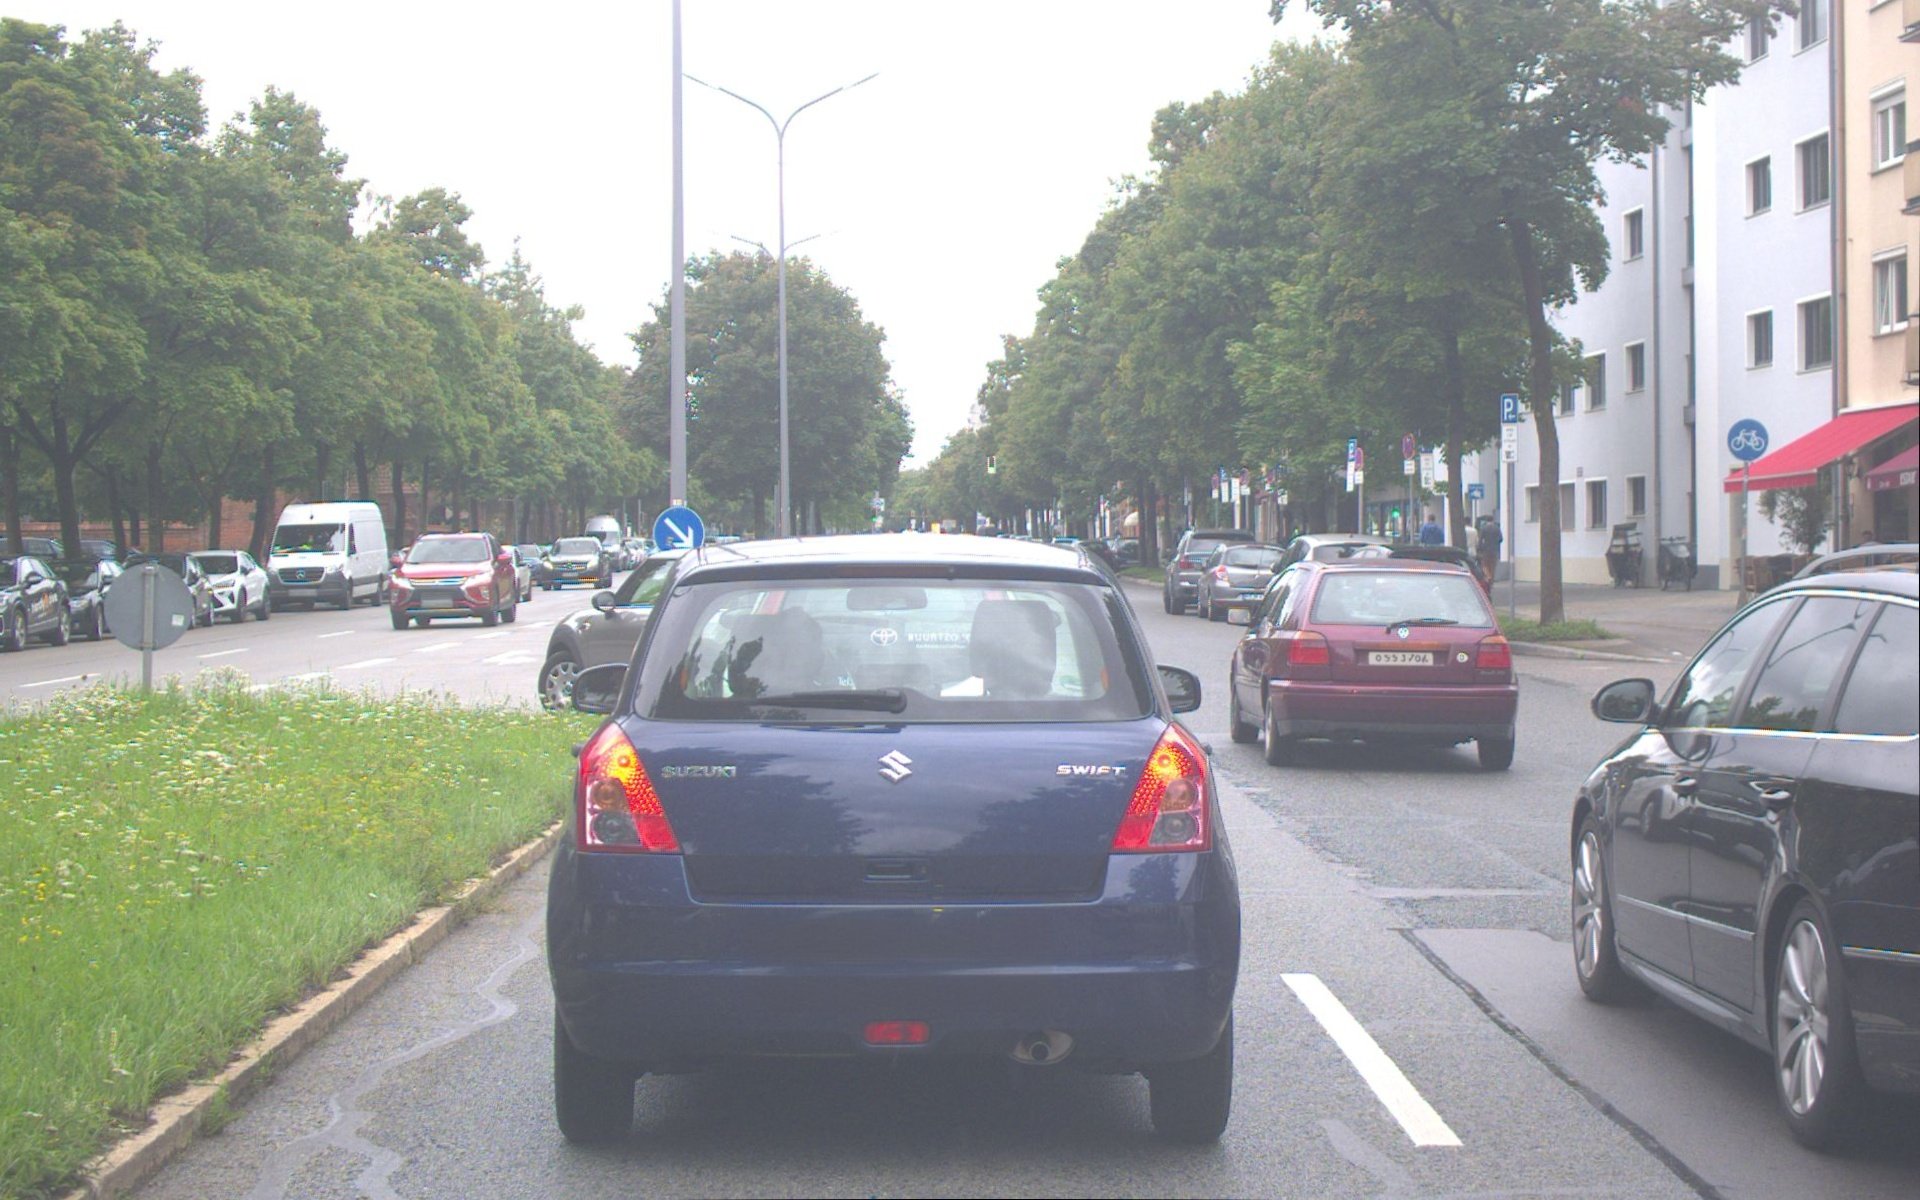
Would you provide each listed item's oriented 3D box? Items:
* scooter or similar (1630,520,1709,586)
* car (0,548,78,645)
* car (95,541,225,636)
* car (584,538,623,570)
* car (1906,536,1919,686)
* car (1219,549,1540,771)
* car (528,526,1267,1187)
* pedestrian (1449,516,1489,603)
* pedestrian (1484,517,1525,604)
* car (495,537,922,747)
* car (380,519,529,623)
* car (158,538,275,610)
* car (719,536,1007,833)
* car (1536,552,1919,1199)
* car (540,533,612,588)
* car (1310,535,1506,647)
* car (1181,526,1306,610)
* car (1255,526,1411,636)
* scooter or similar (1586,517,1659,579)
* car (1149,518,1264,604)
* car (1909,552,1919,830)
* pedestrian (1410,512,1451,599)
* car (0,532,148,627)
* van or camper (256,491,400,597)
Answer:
[{"bbox_3d":[14.289,-0.966,69.335,1.033,1.303,2.755,0,1,0],"label":"scooter or similar"},{"bbox_3d":[-15.043,-0.077,53.595,1.667,1.440,3.879,1,1,-1],"label":"car"},{"bbox_3d":[-15.164,-0.241,65.321,1.632,1.735,3.879,1,1,-1],"label":"car"},{"bbox_3d":[-18.118,-2.330,174.716,1.632,1.577,3.879,1,1,-1],"label":"car"},{"bbox_3d":[11.003,0.085,32.960,3.552,1.412,1.870,0,1,21],"label":"car"},{"bbox_3d":[2.838,0.358,24.002,1.682,1.379,3.919,1,1,-1],"label":"car"},{"bbox_3d":[-0.193,0.544,9.798,1.682,1.496,3.919,0,1,-2],"label":"car"},{"bbox_3d":[11.825,-0.935,79.871,0.794,2.007,1.006,0,1,0],"label":"pedestrian"},{"bbox_3d":[12.648,-0.927,79.914,0.794,2.007,1.006,0,1,0],"label":"pedestrian"},{"bbox_3d":[-1.986,0.257,26.212,1.682,1.458,3.734,-1,2,-32],"label":"car"},{"bbox_3d":[-8.832,-0.537,60.360,1.904,1.690,4.245,-2,1,0],"label":"car"},{"bbox_3d":[-15.291,-0.543,70.840,1.632,1.426,3.879,1,1,-1],"label":"car"},{"bbox_3d":[-0.530,0.399,18.872,1.444,1.478,3.107,0,1,-2],"label":"car"},{"bbox_3d":[2.860,0.619,9.485,1.731,1.427,4.442,1,1,-1],"label":"car"},{"bbox_3d":[-12.120,-1.262,108.614,1.766,1.618,4.507,-2,1,-1],"label":"car"},{"bbox_3d":[6.056,-0.158,46.933,1.865,1.412,4.225,-1,1,-4],"label":"car"},{"bbox_3d":[5.318,-0.629,64.965,1.865,1.512,4.225,-1,1,-2],"label":"car"},{"bbox_3d":[5.562,-0.322,51.700,1.791,1.553,4.225,-1,1,-1],"label":"car"},{"bbox_3d":[14.085,-1.114,73.191,1.033,1.303,2.755,0,1,0],"label":"scooter or similar"},{"bbox_3d":[4.951,-0.821,69.618,1.865,1.677,4.225,-1,1,-2],"label":"car"},{"bbox_3d":[5.888,0.528,16.421,1.617,1.460,3.674,2,1,-1],"label":"car"},{"bbox_3d":[10.916,-1.039,79.794,0.794,2.007,1.006,0,1,0],"label":"pedestrian"},{"bbox_3d":[-15.146,-0.370,58.940,1.590,1.553,3.879,1,1,-1],"label":"car"},{"bbox_3d":[-15.509,-1.384,84.825,2.117,2.473,7.449,1,1,0],"label":"van or camper"}]
